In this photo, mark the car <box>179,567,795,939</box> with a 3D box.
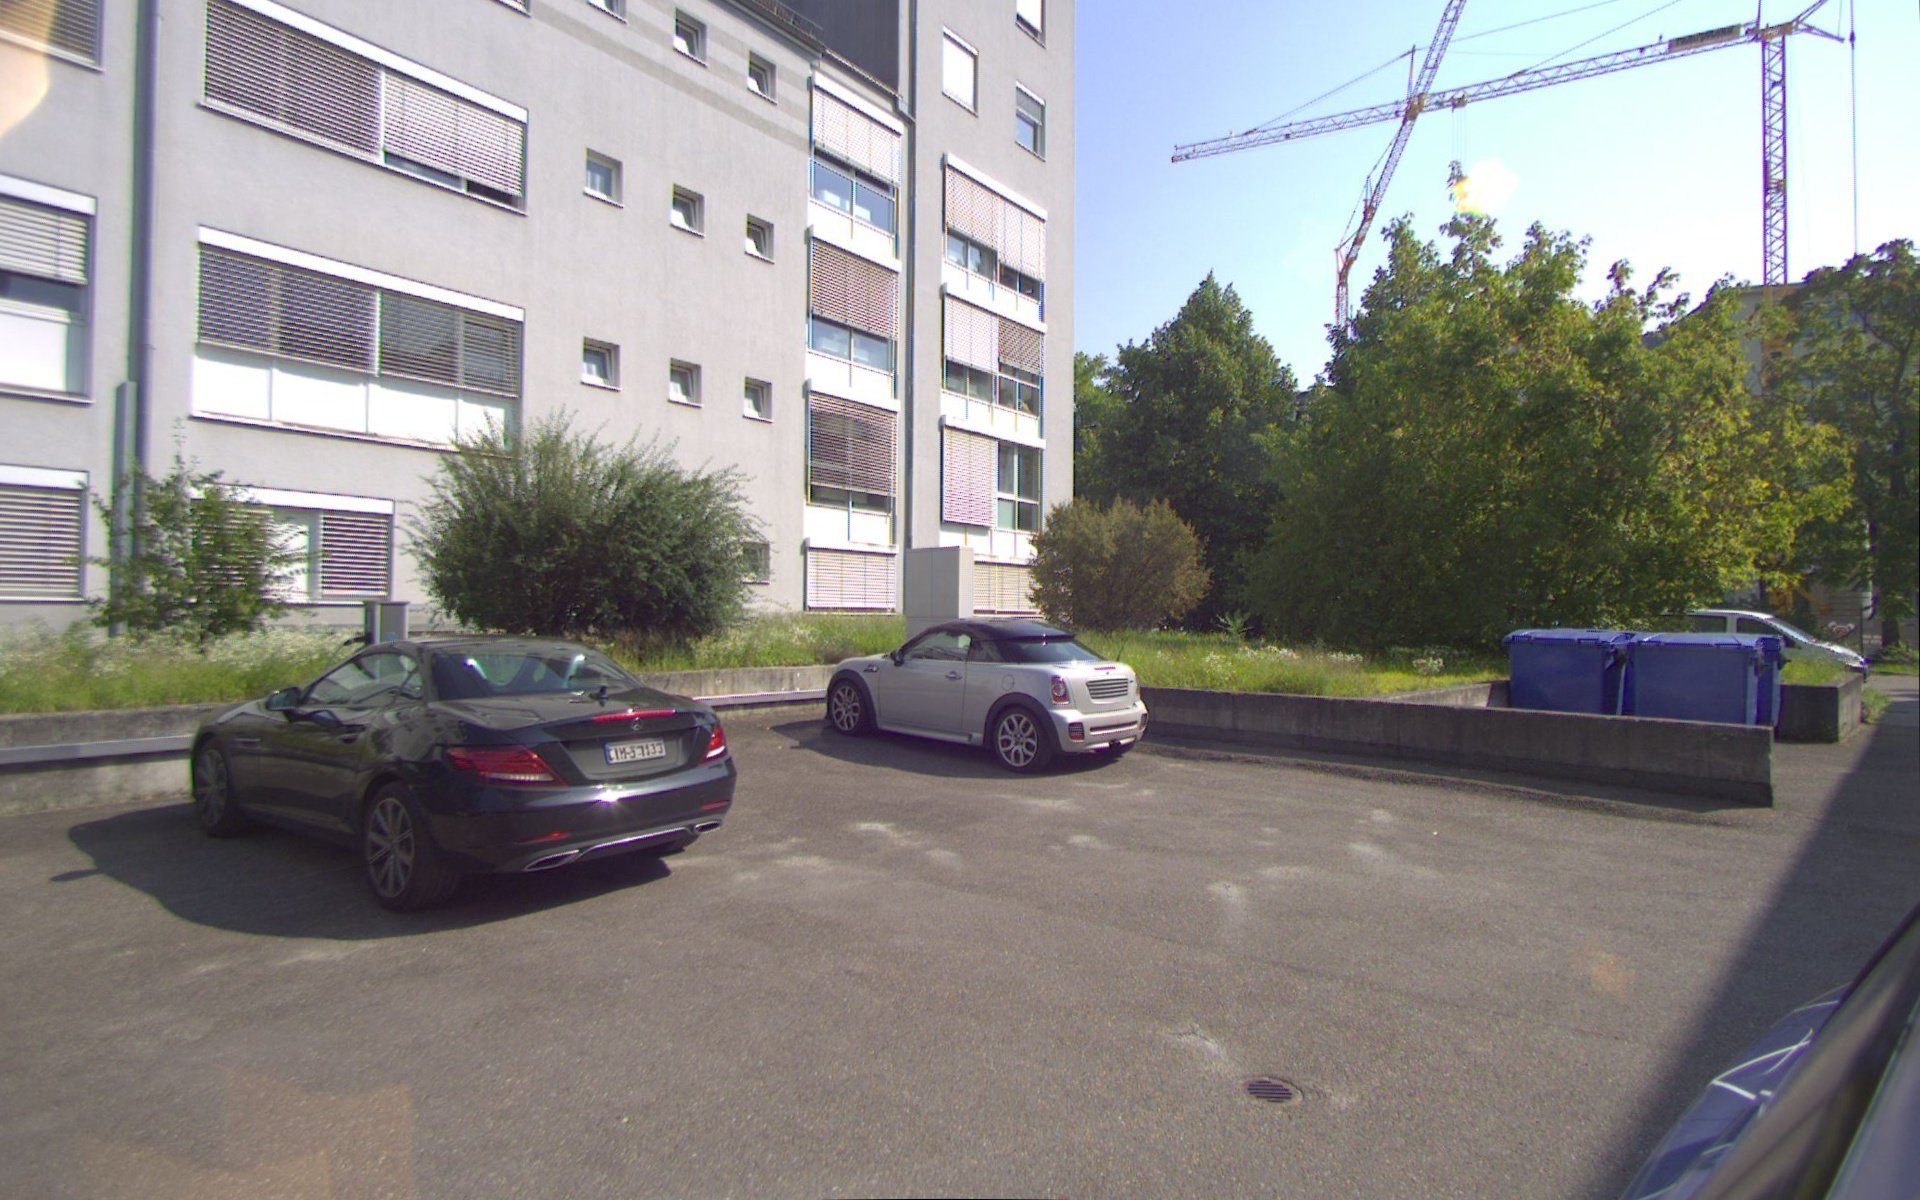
[{"bbox_3d":[-3.031,0.677,6.271,3.787,1.609,1.873,0,-1,36],"label":"car"}]

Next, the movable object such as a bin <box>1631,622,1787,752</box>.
[{"bbox_3d":[8.657,0.946,11.694,1.300,1.357,1.175,-1,-1,44],"label":"movable object such as a bin"}]

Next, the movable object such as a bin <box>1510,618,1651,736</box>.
[{"bbox_3d":[7.758,0.918,12.674,1.098,1.357,1.236,1,-1,-42],"label":"movable object such as a bin"}]

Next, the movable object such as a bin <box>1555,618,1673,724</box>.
[{"bbox_3d":[8.960,0.931,13.861,1.224,1.357,1.061,-1,-1,40],"label":"movable object such as a bin"}]

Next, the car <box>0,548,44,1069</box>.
[{"bbox_3d":[-4.964,0.649,3.740,3.857,1.609,1.852,-1,-1,40],"label":"car"}]

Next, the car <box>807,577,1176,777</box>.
[{"bbox_3d":[0.223,0.651,10.765,3.620,1.563,1.774,5,3,43],"label":"car"}]

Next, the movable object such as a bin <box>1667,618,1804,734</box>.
[{"bbox_3d":[9.886,0.923,12.903,1.308,1.357,1.083,-1,-1,42],"label":"movable object such as a bin"}]

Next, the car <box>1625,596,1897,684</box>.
[{"bbox_3d":[19.458,0.920,24.790,2.009,1.945,4.962,0,-1,-43],"label":"car"}]
